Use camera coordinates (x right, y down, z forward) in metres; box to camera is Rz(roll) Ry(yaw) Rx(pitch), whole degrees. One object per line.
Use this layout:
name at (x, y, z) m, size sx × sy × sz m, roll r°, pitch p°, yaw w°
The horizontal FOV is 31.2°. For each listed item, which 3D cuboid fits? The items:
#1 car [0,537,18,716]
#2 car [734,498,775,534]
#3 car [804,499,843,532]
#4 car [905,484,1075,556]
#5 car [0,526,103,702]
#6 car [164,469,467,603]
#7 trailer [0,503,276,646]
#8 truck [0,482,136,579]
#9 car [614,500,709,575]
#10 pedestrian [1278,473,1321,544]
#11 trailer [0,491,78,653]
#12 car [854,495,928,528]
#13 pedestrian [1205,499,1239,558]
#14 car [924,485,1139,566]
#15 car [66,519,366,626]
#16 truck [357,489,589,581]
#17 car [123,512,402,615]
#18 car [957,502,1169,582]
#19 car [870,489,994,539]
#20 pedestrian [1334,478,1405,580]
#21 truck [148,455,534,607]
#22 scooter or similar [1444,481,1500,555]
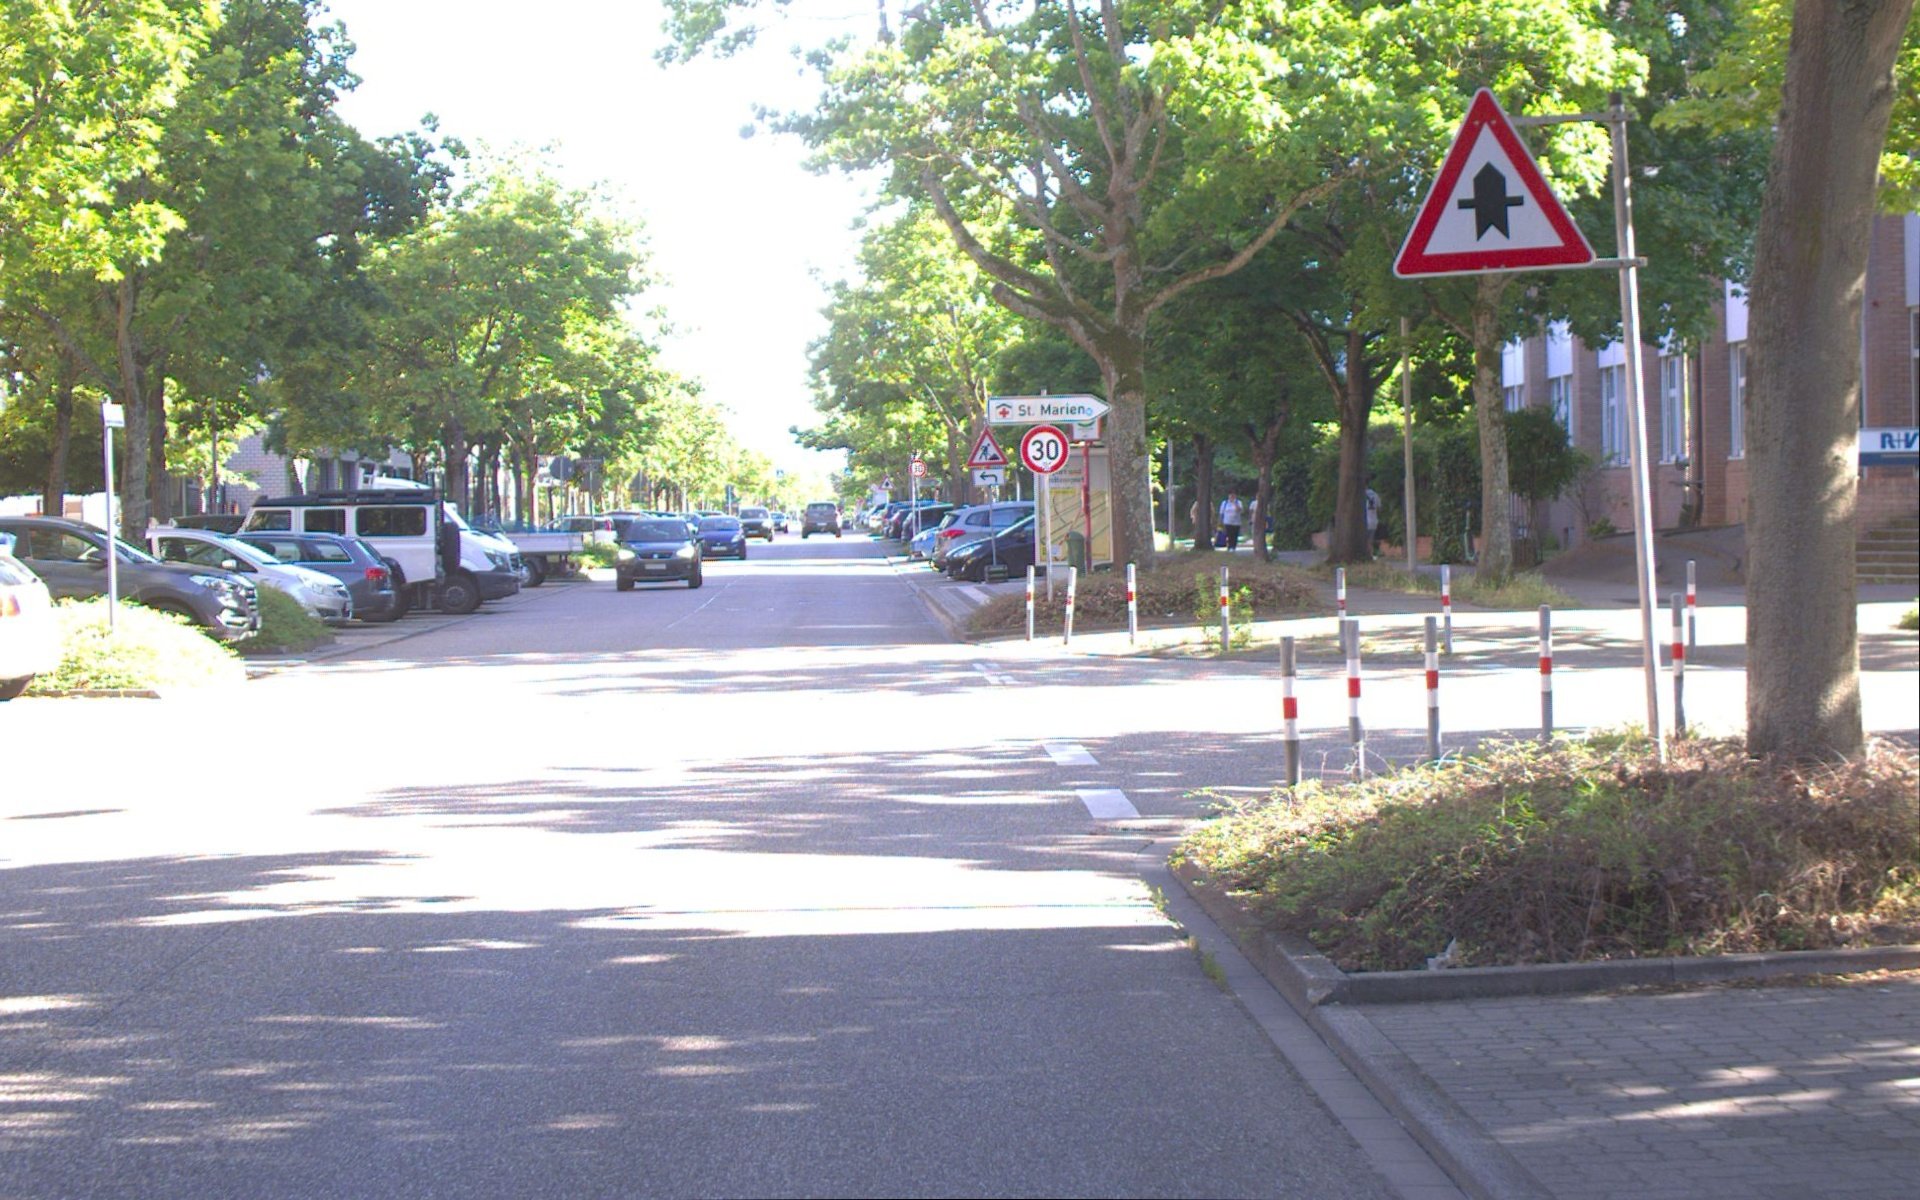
car at (-9.589, 0.195, 26.569) m, size 4.151 × 1.398 × 1.801 m, roll 1°, pitch 1°, yaw -2°
car at (-9.919, -4.058, 165.595) m, size 1.891 × 1.678 × 4.354 m, roll -2°, pitch 2°, yaw -4°
car at (-6.920, -4.308, 174.352) m, size 1.933 × 1.592 × 4.367 m, roll -2°, pitch 2°, yaw -2°
car at (0.789, -2.168, 92.624) m, size 4.405 × 1.612 × 1.912 m, roll -4°, pitch 2°, yaw -2°
car at (-9.458, 0.082, 29.604) m, size 3.754 × 1.447 × 1.755 m, roll 1°, pitch 2°, yaw -2°
car at (-10.116, -1.016, 54.231) m, size 4.481 × 2.044 × 2.000 m, roll 0°, pitch 1°, yaw -4°
trailer at (-10.025, -0.308, 39.028) m, size 4.259 × 1.566 × 1.857 m, roll 0°, pitch 1°, yaw -5°
truck at (-27.326, -1.996, 99.933) m, size 6.103 × 2.695 × 2.578 m, roll -2°, pitch 2°, yaw -4°
car at (-6.359, -1.356, 73.504) m, size 1.779 × 1.506 × 4.001 m, roll -1°, pitch 2°, yaw -2°
pedestrian at (8.523, -2.300, 86.362) m, size 0.695 × 1.705 × 0.921 m, roll -5°, pitch 2°, yaw -13°
trailer at (-10.973, -0.321, 36.676) m, size 2.725 × 1.681 × 1.712 m, roll 0°, pitch 2°, yaw -1°
car at (-3.903, -4.975, 194.032) m, size 3.986 × 1.786 × 2.001 m, roll -1°, pitch 2°, yaw -7°
pedestrian at (6.659, -1.817, 87.347) m, size 0.700 × 1.453 × 0.716 m, roll -2°, pitch 2°, yaw -4°
car at (1.517, -1.611, 74.087) m, size 4.351 × 1.592 × 1.940 m, roll -2°, pitch 2°, yaw -8°
car at (-10.470, -0.400, 48.536) m, size 3.834 × 1.456 × 1.732 m, roll 0°, pitch 2°, yaw 1°
truck at (-11.106, -1.501, 78.732) m, size 4.984 × 1.952 × 2.138 m, roll -1°, pitch 1°, yaw -1°
car at (-10.329, -0.558, 51.100) m, size 3.778 × 1.487 × 1.833 m, roll 0°, pitch 2°, yaw -1°
car at (1.982, -1.143, 66.865) m, size 3.934 × 1.434 × 1.775 m, roll -2°, pitch 1°, yaw -4°
car at (-1.022, -3.064, 122.689) m, size 4.267 × 1.628 × 1.858 m, roll -2°, pitch 2°, yaw -4°
pedestrian at (7.175, -1.243, 60.254) m, size 0.917 × 1.705 × 0.698 m, roll -5°, pitch 2°, yaw -15°
truck at (-10.620, -1.205, 59.370) m, size 6.231 × 2.413 × 2.188 m, roll -1°, pitch 1°, yaw -1°
scooter or similar at (9.375, -1.503, 63.025) m, size 0.548 × 1.321 × 1.806 m, roll 0°, pitch 1°, yaw -7°
